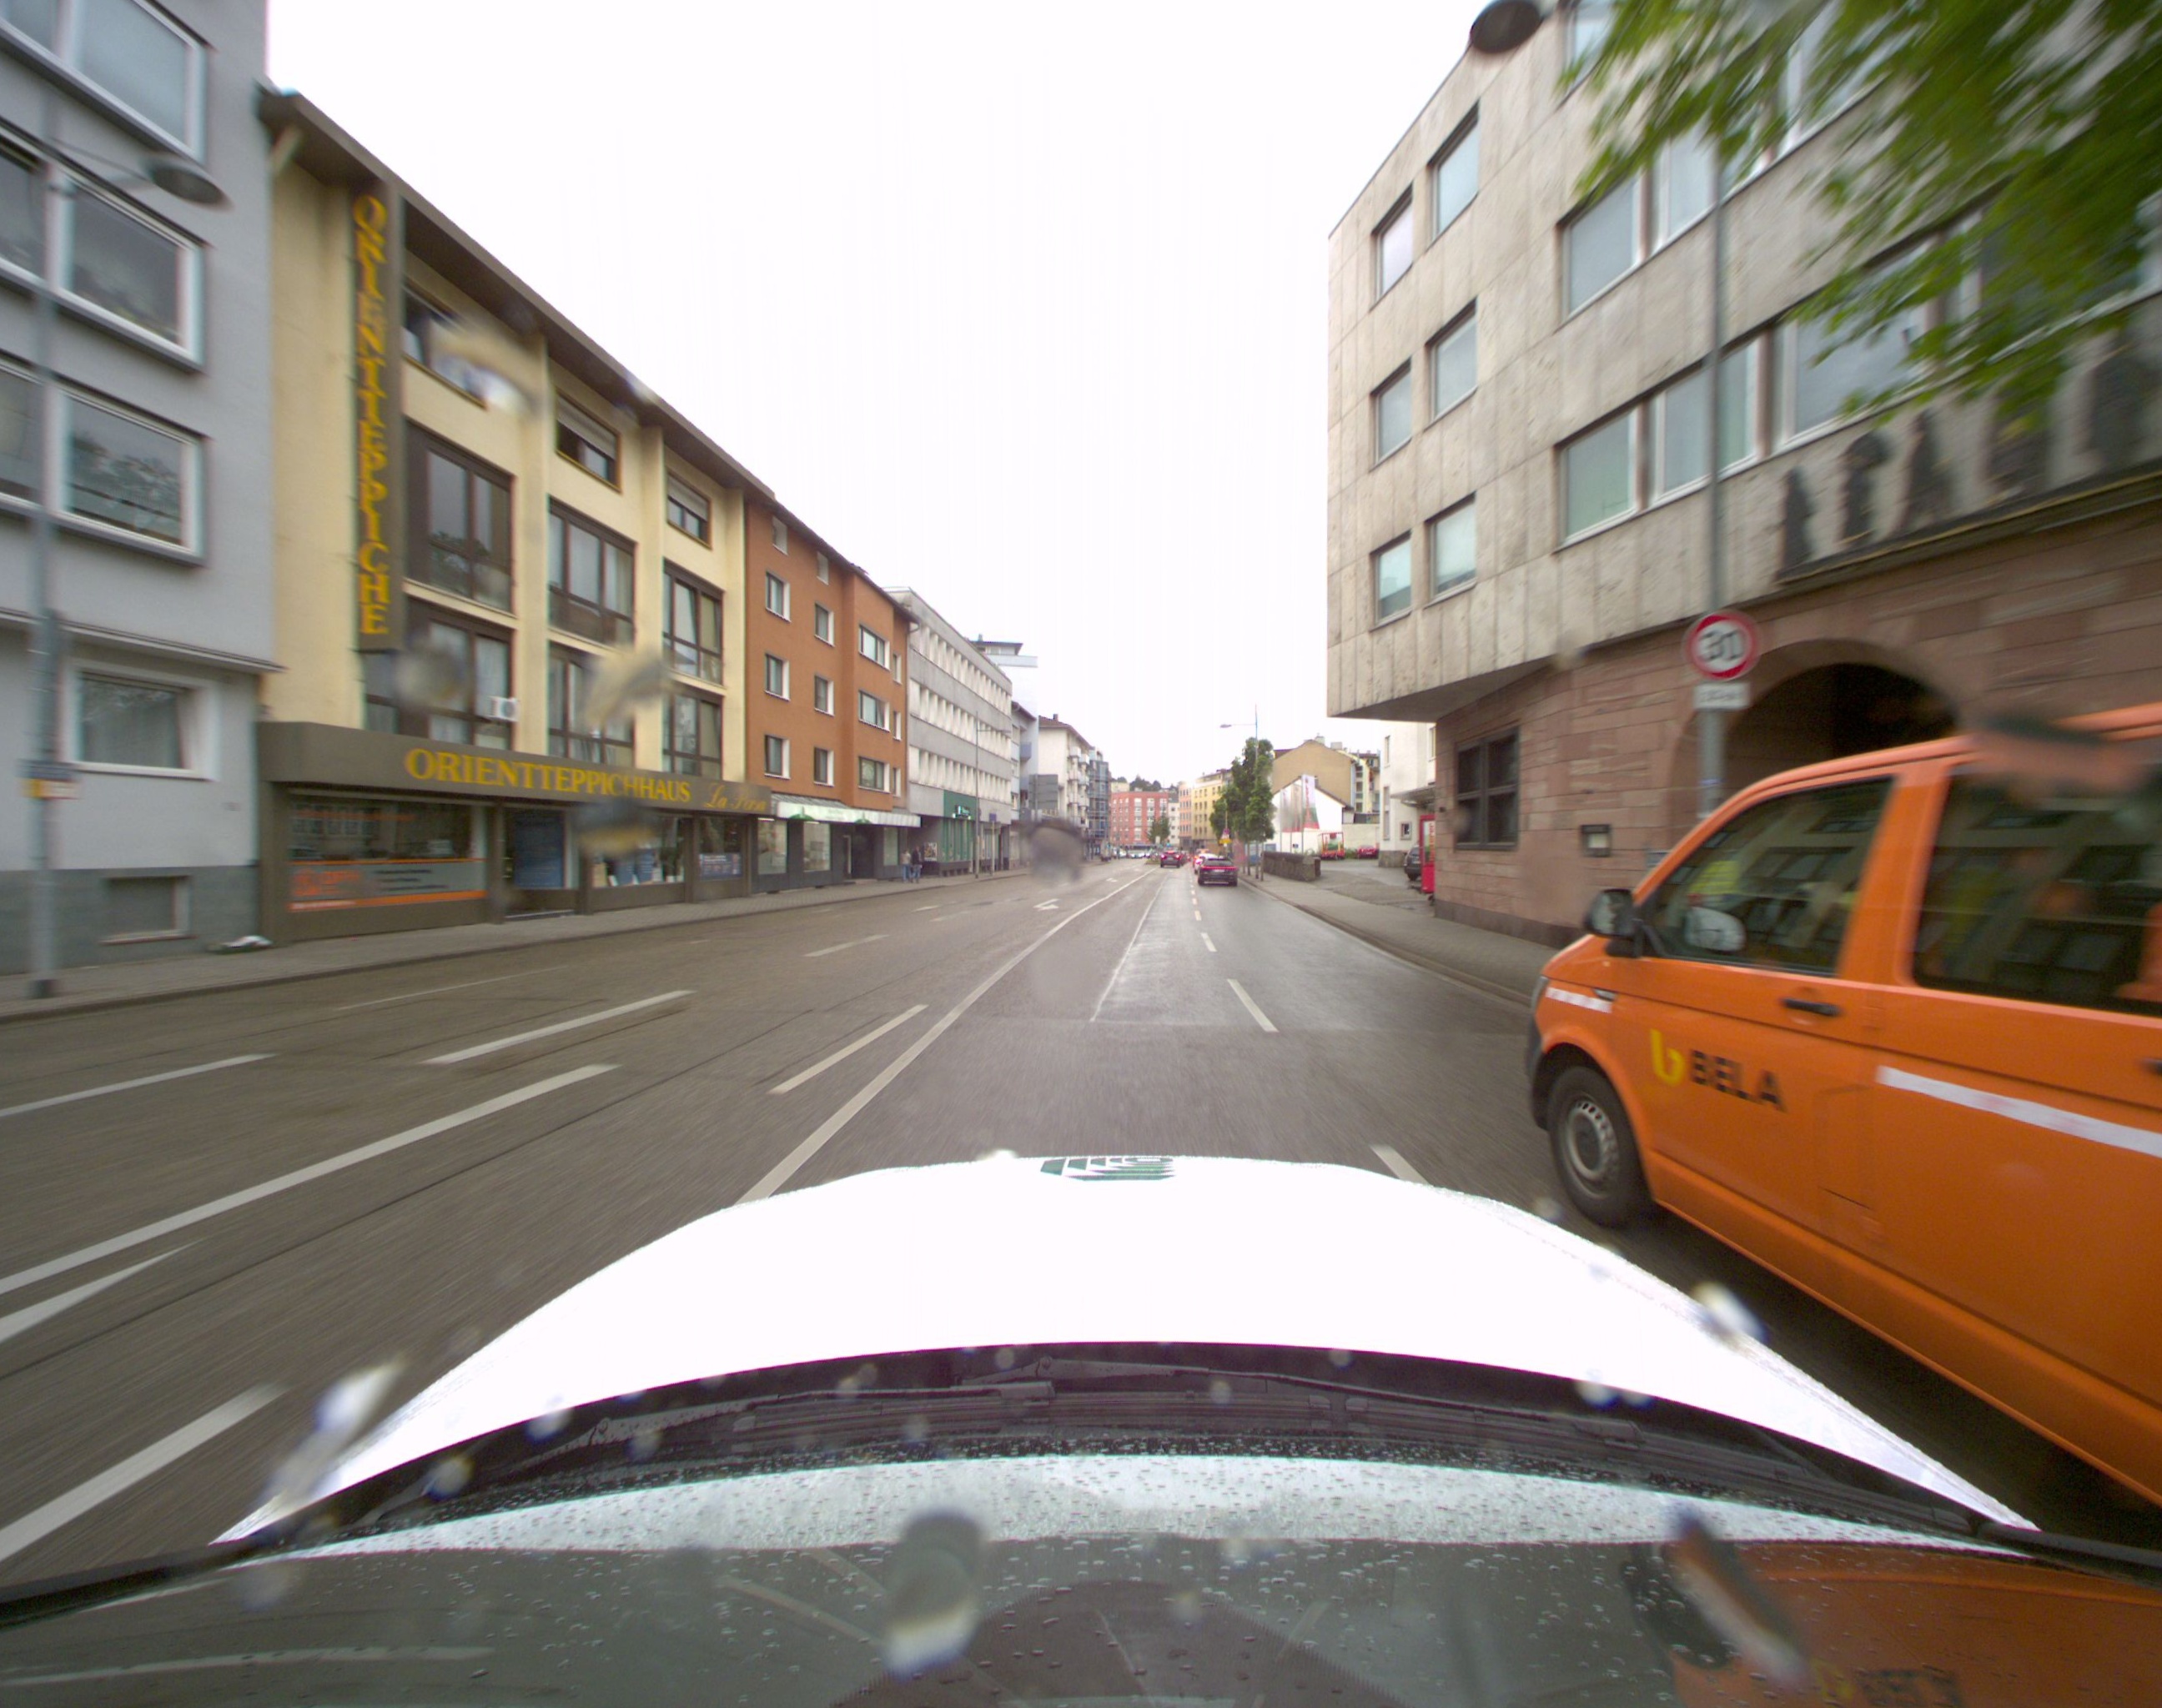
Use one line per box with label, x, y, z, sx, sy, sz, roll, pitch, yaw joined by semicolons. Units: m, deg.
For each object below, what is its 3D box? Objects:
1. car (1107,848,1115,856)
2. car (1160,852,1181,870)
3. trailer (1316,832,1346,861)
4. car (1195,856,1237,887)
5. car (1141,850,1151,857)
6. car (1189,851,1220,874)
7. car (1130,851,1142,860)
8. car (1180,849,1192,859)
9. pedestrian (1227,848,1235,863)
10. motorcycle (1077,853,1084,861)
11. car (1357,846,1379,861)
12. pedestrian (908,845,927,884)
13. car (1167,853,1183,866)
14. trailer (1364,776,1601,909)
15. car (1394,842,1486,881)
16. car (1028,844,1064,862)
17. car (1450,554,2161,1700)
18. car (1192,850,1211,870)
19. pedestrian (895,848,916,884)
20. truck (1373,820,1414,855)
car;6.273;-0.455;170.465;1.452;1.430;3.366;2;1;-3
car;8.664;0.637;78.238;1.813;1.600;3.727;2;1;8
trailer;24.896;-0.790;81.373;2.114;2.716;5.406;-3;1;10
car;6.688;0.820;40.631;1.780;1.403;4.641;1;1;6
car;13.352;-0.126;166.845;1.715;1.423;4.165;-2;0;0
car;8.870;0.597;58.587;1.659;1.396;3.869;2;2;1
car;9.645;0.188;142.843;1.698;1.468;4.840;-3;0;8
car;14.616;-0.020;113.672;1.632;1.381;3.354;-1;0;6
pedestrian;17.602;0.183;95.678;0.784;1.755;0.876;-1;0;21
motorcycle;-0.051;0.322;103.251;0.522;0.995;2.142;2;1;9
car;28.181;-0.053;79.912;1.579;1.456;3.275;-1;0;12
pedestrian;-7.876;0.504;39.232;0.572;1.788;0.828;4;0;8
car;10.113;0.585;87.454;1.632;1.381;3.354;-1;0;6
trailer;10.841;-0.292;22.655;2.636;3.176;5.680;-1;0;-19
car;16.373;0.288;37.074;4.011;1.583;1.755;-2;2;-29
car;-4.005;-0.140;93.625;3.941;2.034;1.584;0;0;8
car;3.025;0.467;1.891;2.092;2.089;5.548;-2;0;4
car;12.083;0.549;81.525;1.819;1.805;3.729;2;2;9
pedestrian;-8.470;0.564;39.381;0.627;1.675;0.910;4;0;7
truck;30.708;-1.604;80.165;2.614;3.216;6.952;-2;0;12
